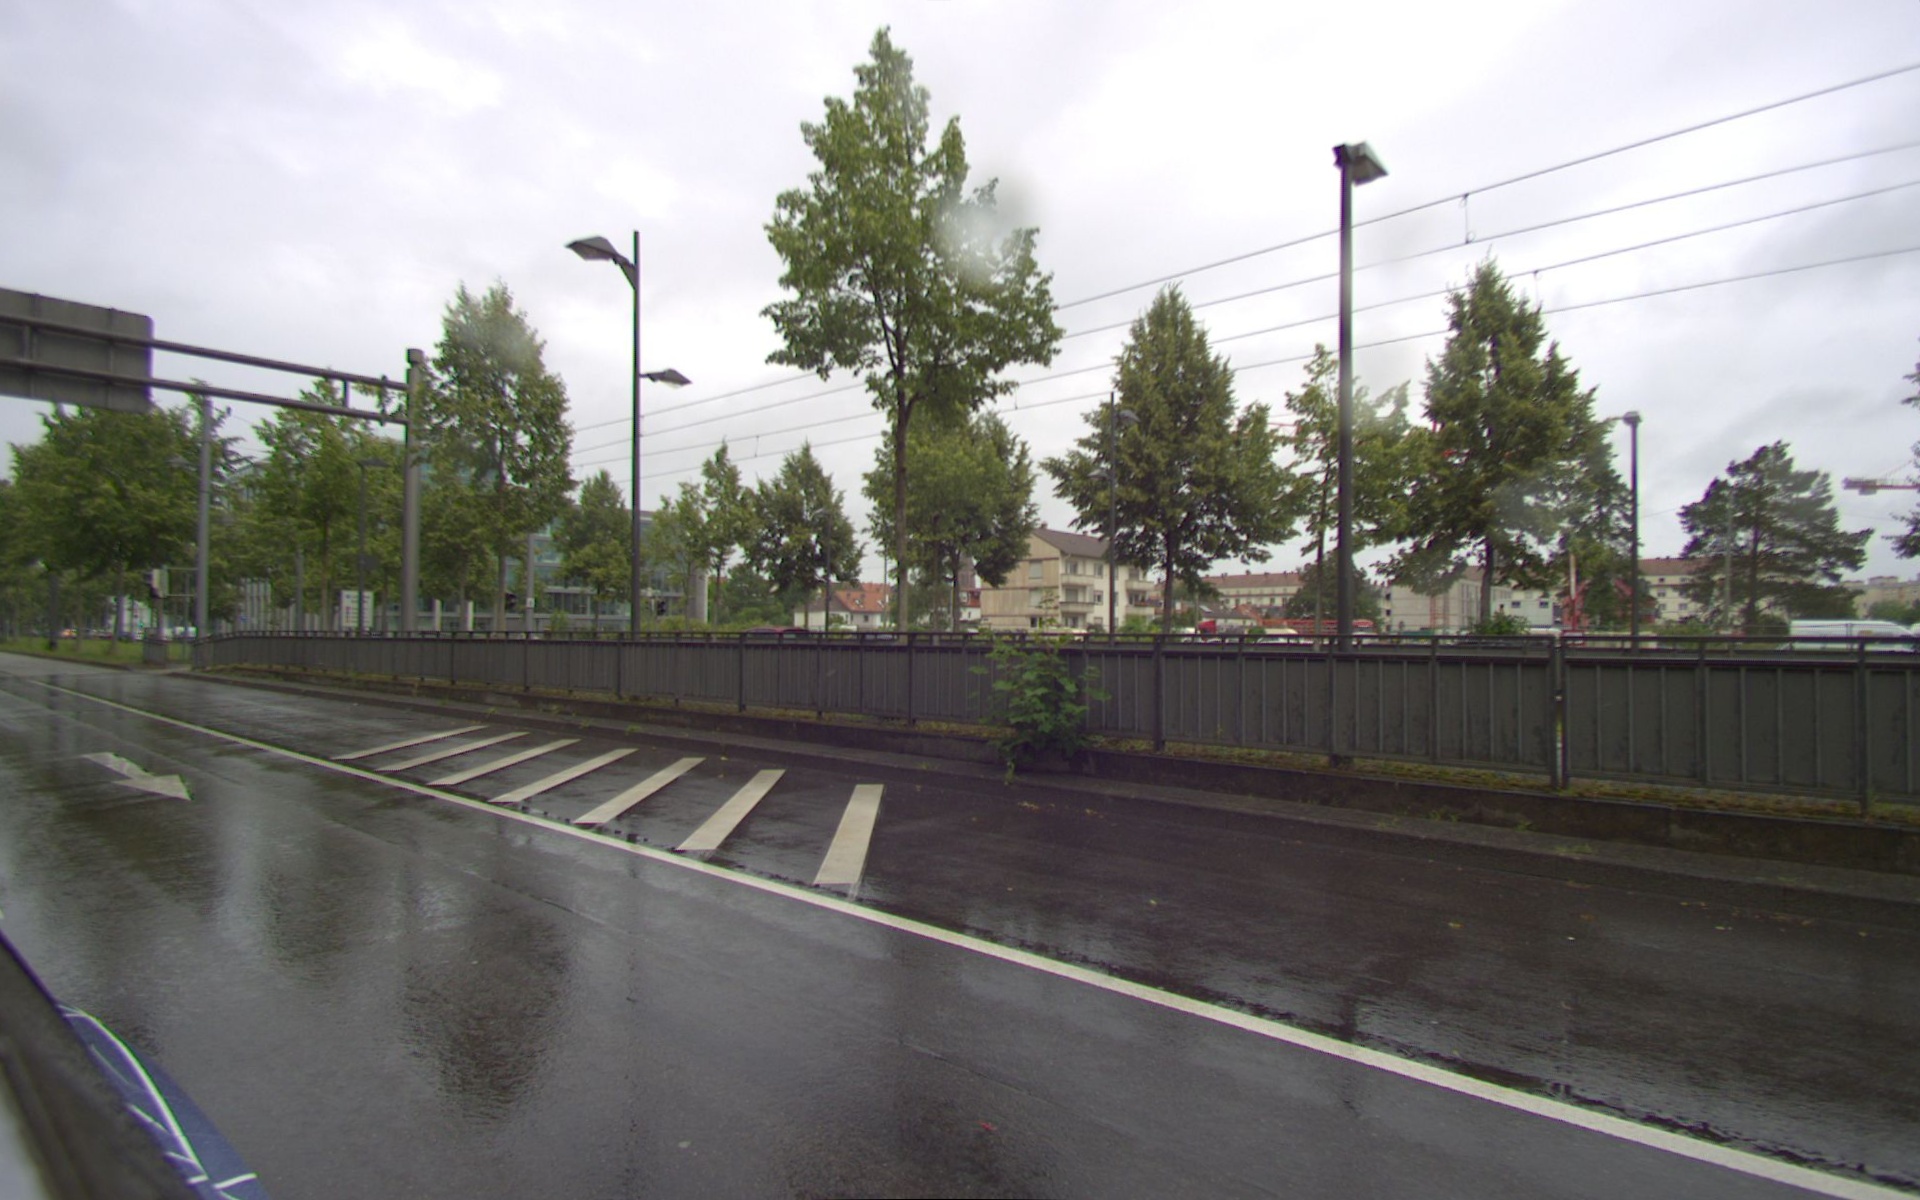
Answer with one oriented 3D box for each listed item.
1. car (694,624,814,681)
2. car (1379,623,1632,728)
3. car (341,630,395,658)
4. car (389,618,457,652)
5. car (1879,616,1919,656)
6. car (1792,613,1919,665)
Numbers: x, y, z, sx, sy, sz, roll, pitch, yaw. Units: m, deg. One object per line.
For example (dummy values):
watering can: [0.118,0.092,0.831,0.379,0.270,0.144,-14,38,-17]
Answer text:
car: [-7.130,1.752,34.888,3.997,1.759,1.973,-1,0,40]
car: [10.513,1.358,19.626,3.997,1.759,1.973,-1,0,40]
car: [-40.946,3.003,69.991,3.997,1.759,1.973,-1,0,40]
car: [-29.889,1.913,56.253,3.997,1.759,1.973,-1,0,40]
car: [52.516,1.928,53.650,5.414,2.067,1.974,-1,0,38]
car: [45.934,1.903,50.481,6.739,2.480,1.974,-1,0,38]
